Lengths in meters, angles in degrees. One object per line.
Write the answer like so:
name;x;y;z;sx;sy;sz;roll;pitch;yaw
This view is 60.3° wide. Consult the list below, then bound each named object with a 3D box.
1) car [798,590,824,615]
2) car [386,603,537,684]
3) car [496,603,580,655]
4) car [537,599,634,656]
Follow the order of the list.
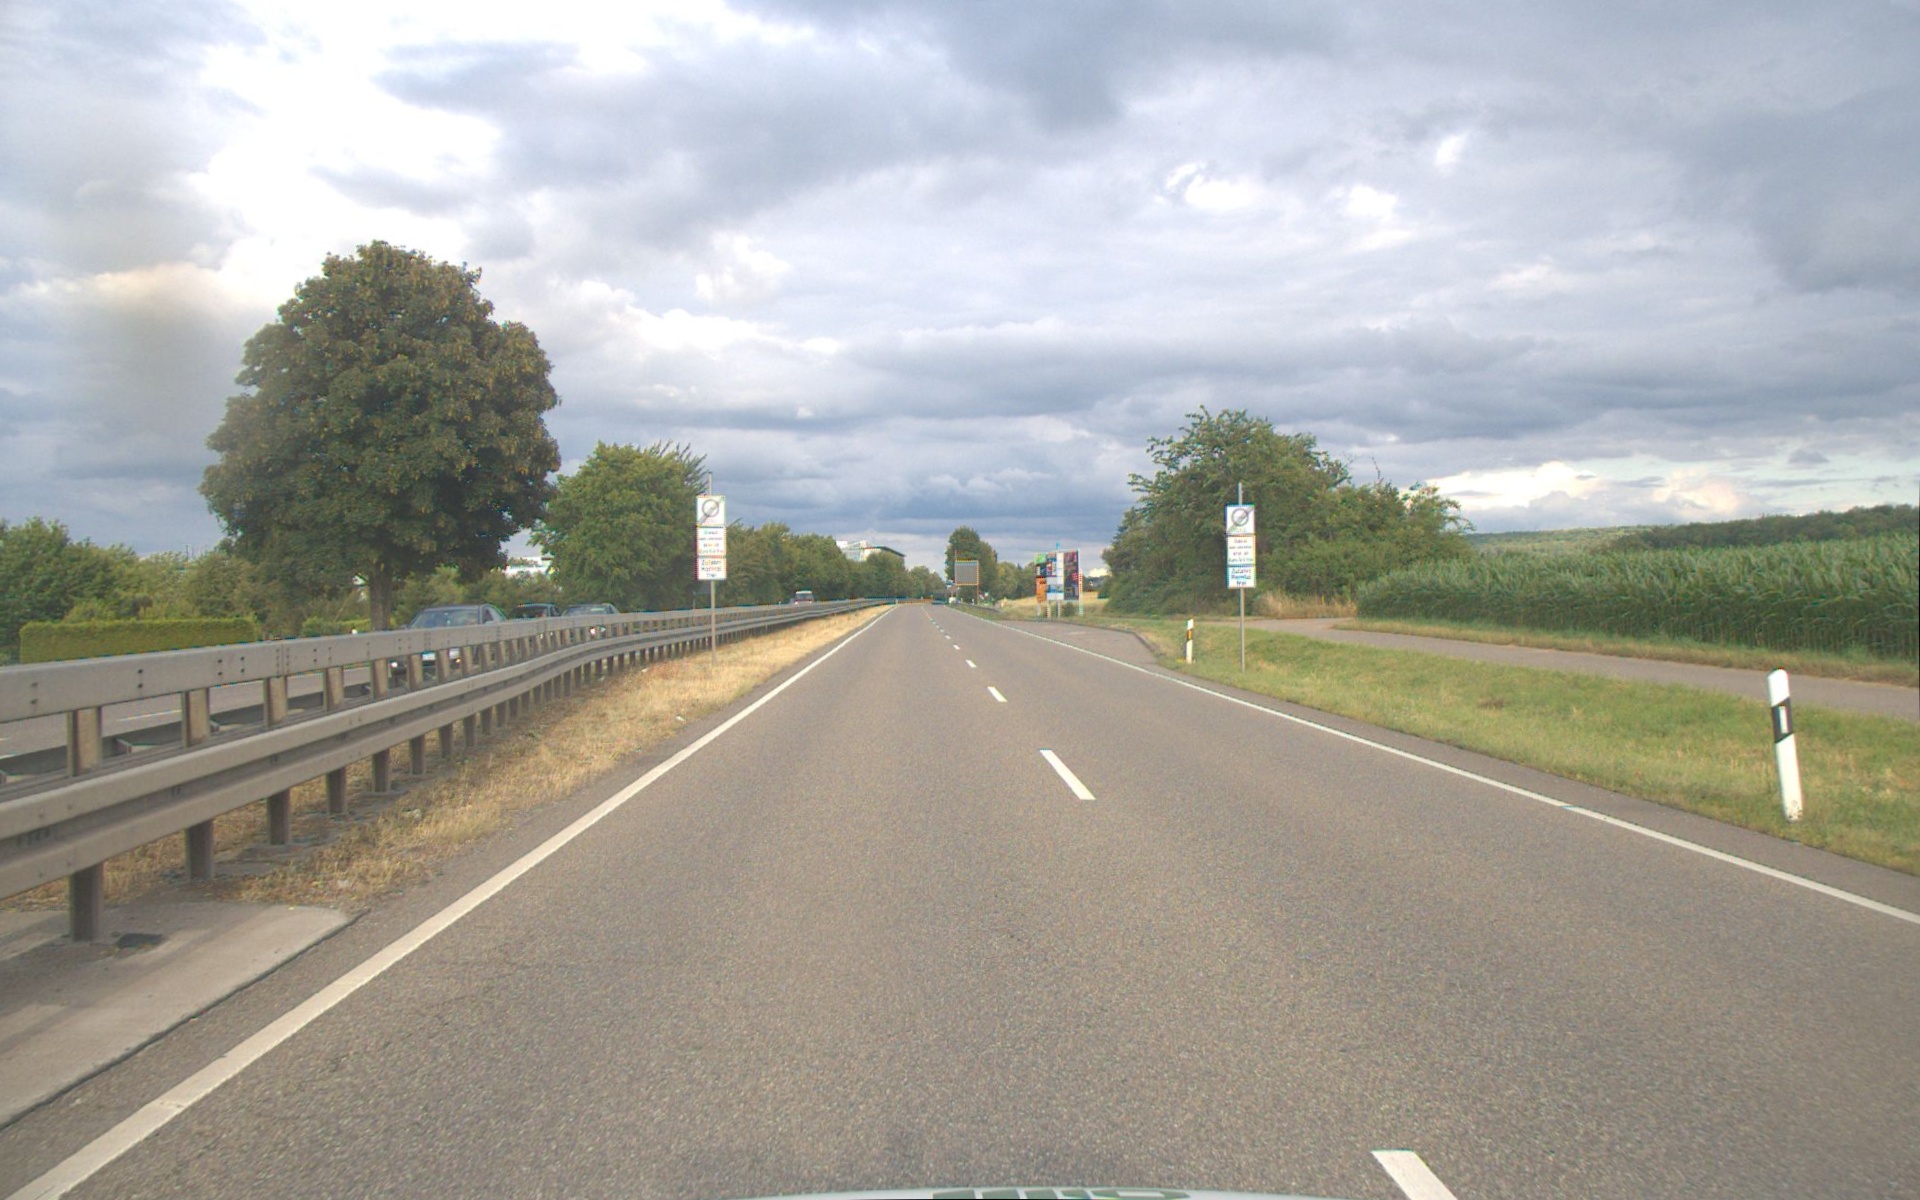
car;-13.980;0.221;155.606;1.953;2.178;5.318;-2;0;0
car;-10.417;0.851;34.914;1.829;1.503;4.823;-2;0;-2
car;-14.061;0.936;55.362;1.829;1.591;4.150;-2;0;-2
car;-10.939;0.763;48.638;1.829;1.503;4.933;-2;0;-2
